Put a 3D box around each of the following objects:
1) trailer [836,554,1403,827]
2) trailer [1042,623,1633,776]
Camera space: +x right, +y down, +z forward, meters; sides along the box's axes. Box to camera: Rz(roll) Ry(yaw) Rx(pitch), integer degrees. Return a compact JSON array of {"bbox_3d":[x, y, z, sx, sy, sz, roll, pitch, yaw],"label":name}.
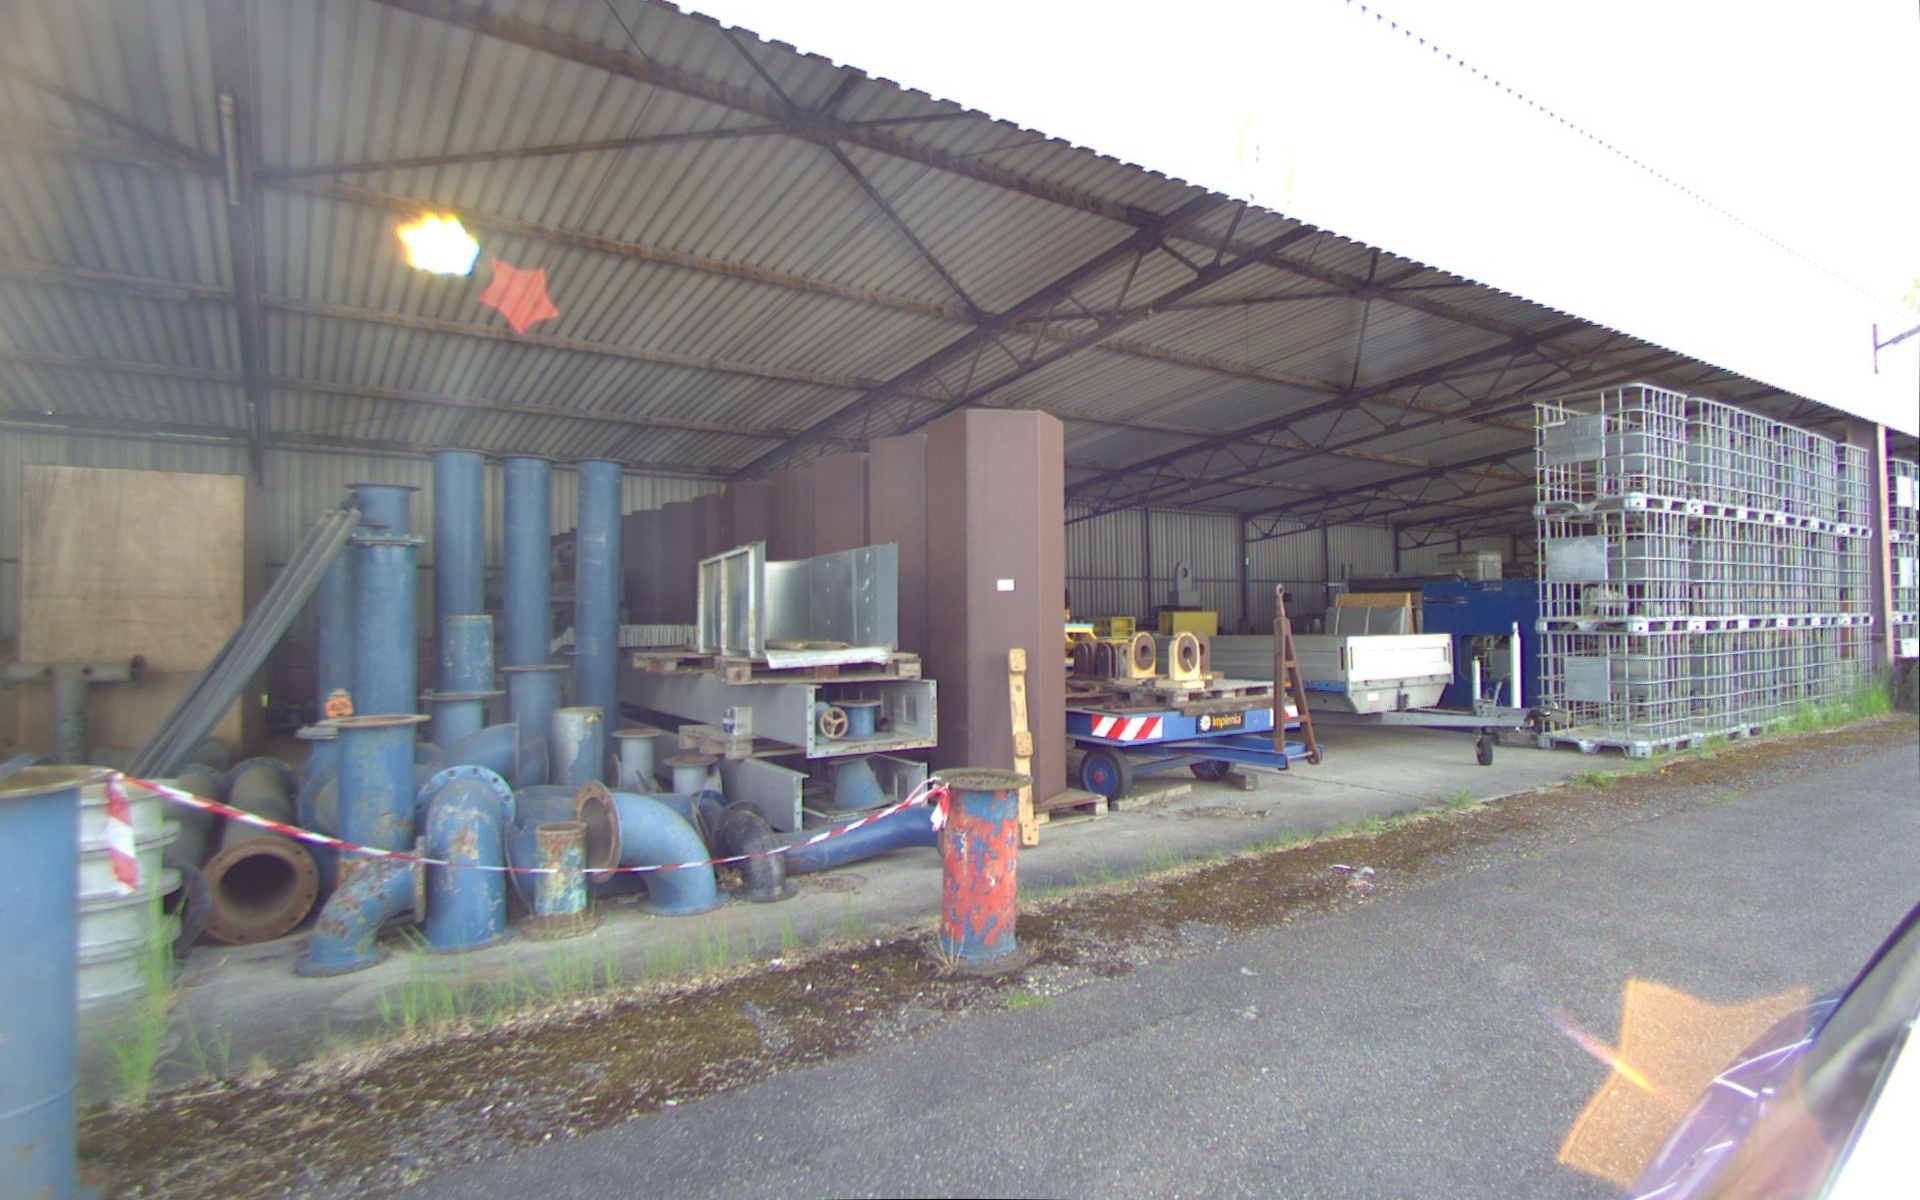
[{"bbox_3d":[0.973,0.573,8.720,1.991,1.649,4.882,0,-1,-35],"label":"trailer"},{"bbox_3d":[3.509,0.836,10.829,1.991,1.134,5.840,0,-1,-35],"label":"trailer"}]
